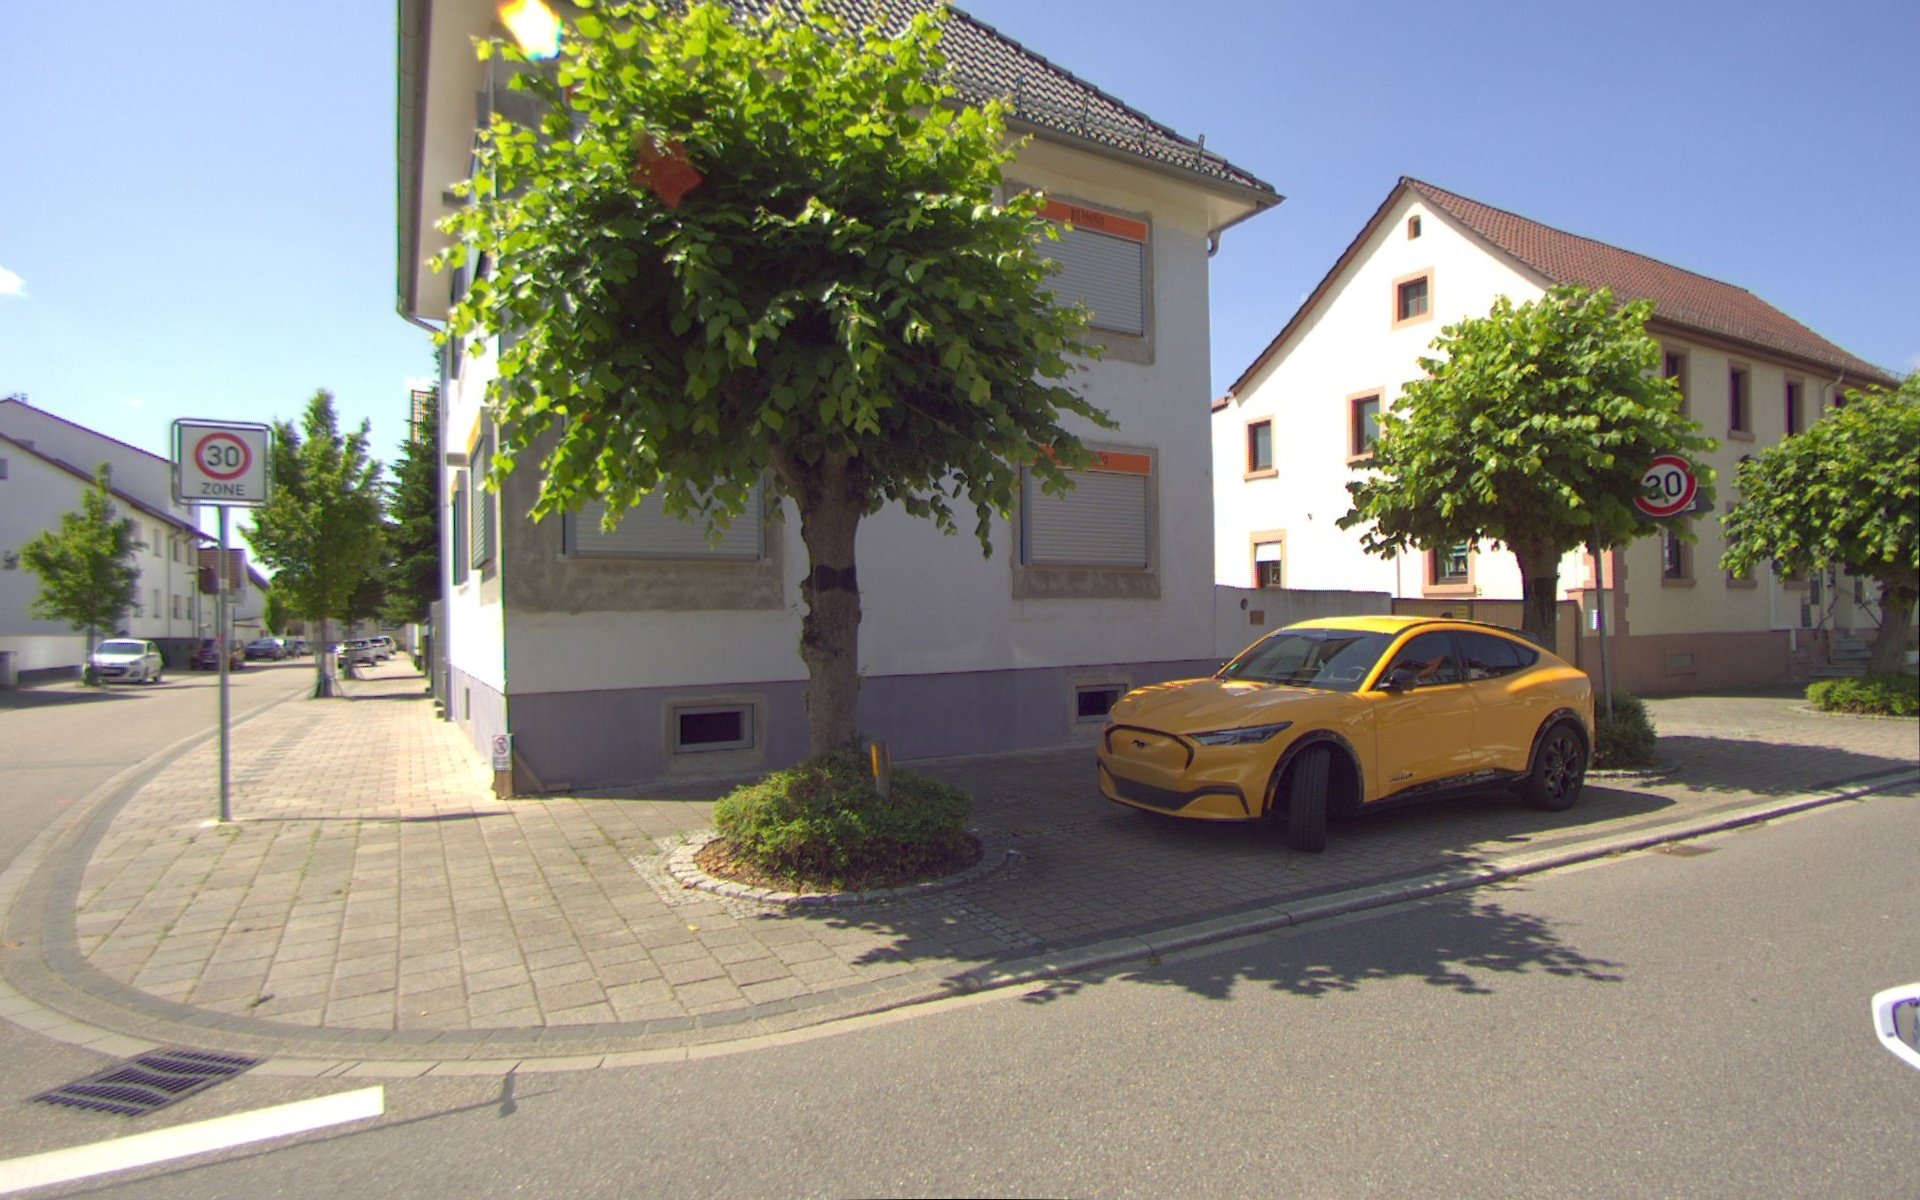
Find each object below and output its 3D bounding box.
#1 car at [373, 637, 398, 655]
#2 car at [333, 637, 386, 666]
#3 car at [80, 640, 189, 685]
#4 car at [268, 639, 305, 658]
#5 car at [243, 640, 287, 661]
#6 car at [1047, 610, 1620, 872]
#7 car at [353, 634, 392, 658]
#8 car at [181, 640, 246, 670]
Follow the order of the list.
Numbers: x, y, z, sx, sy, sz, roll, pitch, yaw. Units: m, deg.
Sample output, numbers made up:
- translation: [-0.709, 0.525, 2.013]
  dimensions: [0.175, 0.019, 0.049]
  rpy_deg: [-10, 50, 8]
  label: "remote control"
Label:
- translation: [-49.313, 3.922, 86.227]
  dimensions: [1.734, 1.468, 3.245]
  rpy_deg: [2, -2, -28]
  label: "car"
- translation: [-31.366, 2.679, 52.607]
  dimensions: [1.974, 1.468, 4.323]
  rpy_deg: [2, -2, -26]
  label: "car"
- translation: [-29.166, 2.180, 35.628]
  dimensions: [1.974, 1.468, 4.323]
  rpy_deg: [2, -2, -26]
  label: "car"
- translation: [-54.164, 3.899, 80.841]
  dimensions: [1.944, 1.392, 4.320]
  rpy_deg: [2, -3, -28]
  label: "car"
- translation: [-48.049, 3.472, 69.507]
  dimensions: [1.944, 1.392, 4.320]
  rpy_deg: [2, -3, -28]
  label: "car"
- translation: [3.193, 0.917, 8.389]
  dimensions: [4.632, 1.633, 1.985]
  rpy_deg: [0, 0, -29]
  label: "car"
- translation: [-37.449, 2.916, 64.130]
  dimensions: [1.903, 1.468, 4.011]
  rpy_deg: [2, -3, -28]
  label: "car"
- translation: [-37.936, 2.778, 51.121]
  dimensions: [1.975, 1.468, 4.320]
  rpy_deg: [2, -3, -28]
  label: "car"
